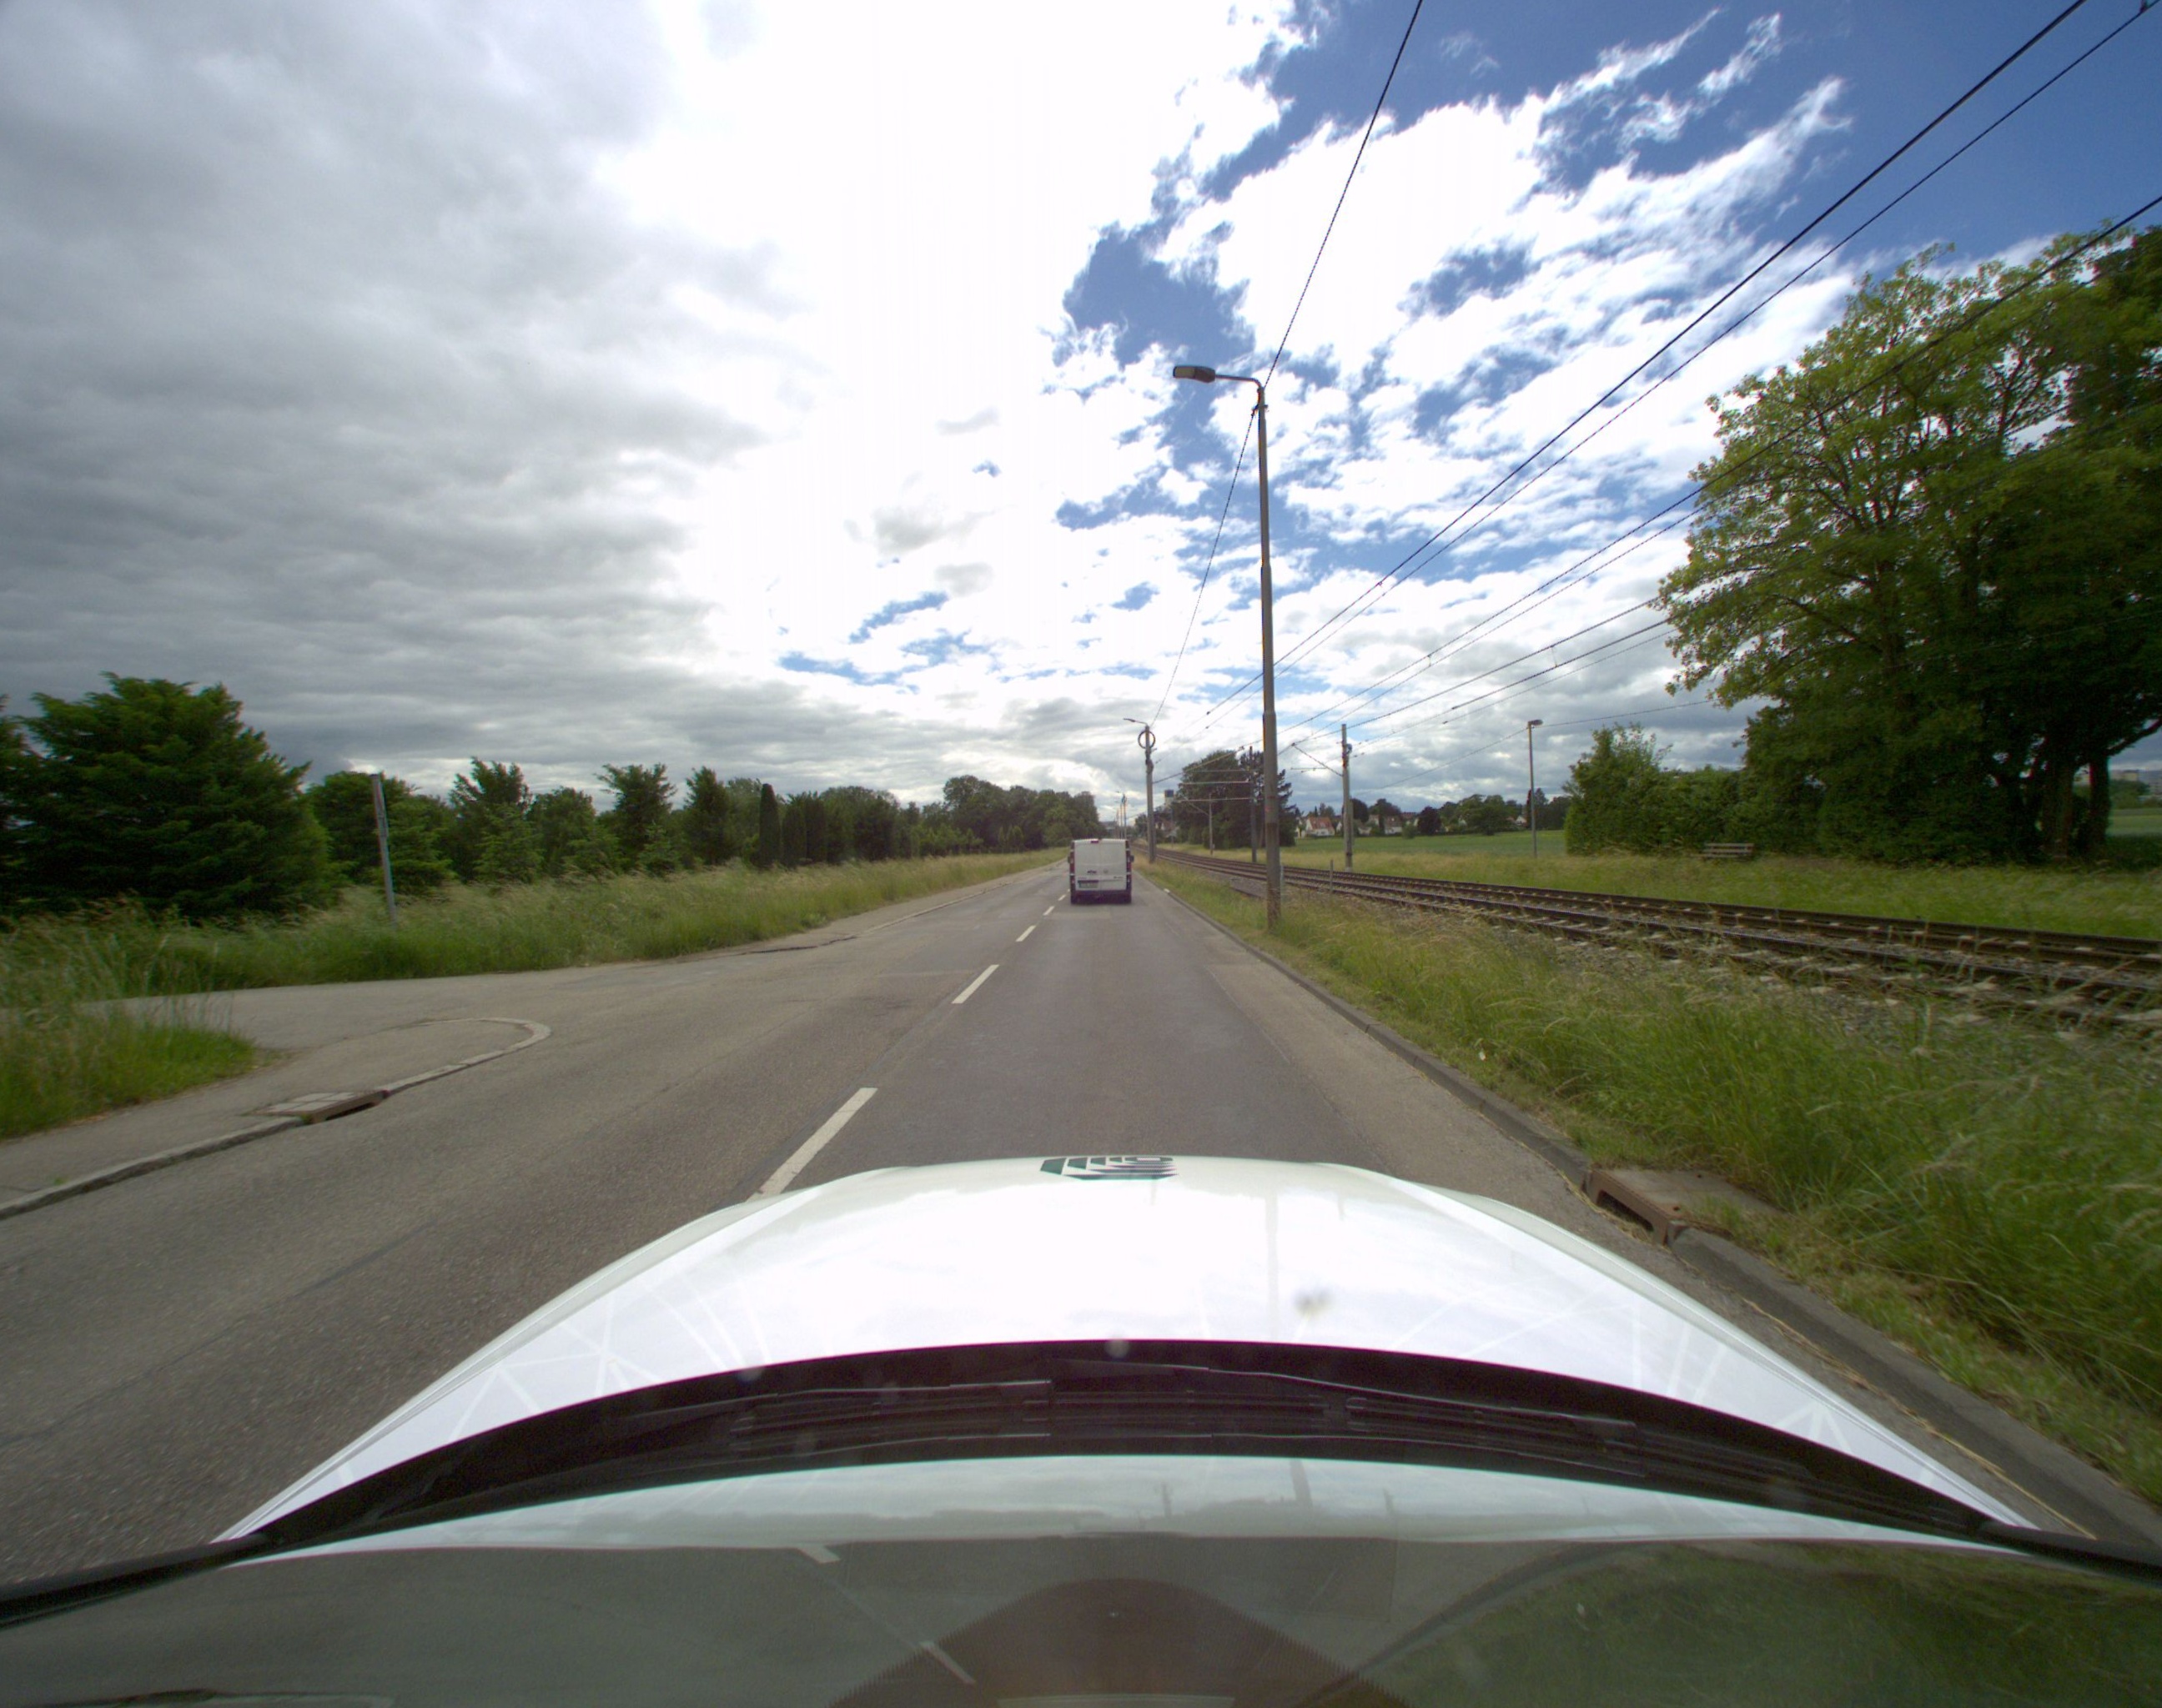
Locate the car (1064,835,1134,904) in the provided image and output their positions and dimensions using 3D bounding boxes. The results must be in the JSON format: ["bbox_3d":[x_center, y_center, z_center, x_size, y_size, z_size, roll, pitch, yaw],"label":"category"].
[{"bbox_3d":[0.547,0.466,25.633,1.987,1.957,4.000,-2,0,1],"label":"car"}]
